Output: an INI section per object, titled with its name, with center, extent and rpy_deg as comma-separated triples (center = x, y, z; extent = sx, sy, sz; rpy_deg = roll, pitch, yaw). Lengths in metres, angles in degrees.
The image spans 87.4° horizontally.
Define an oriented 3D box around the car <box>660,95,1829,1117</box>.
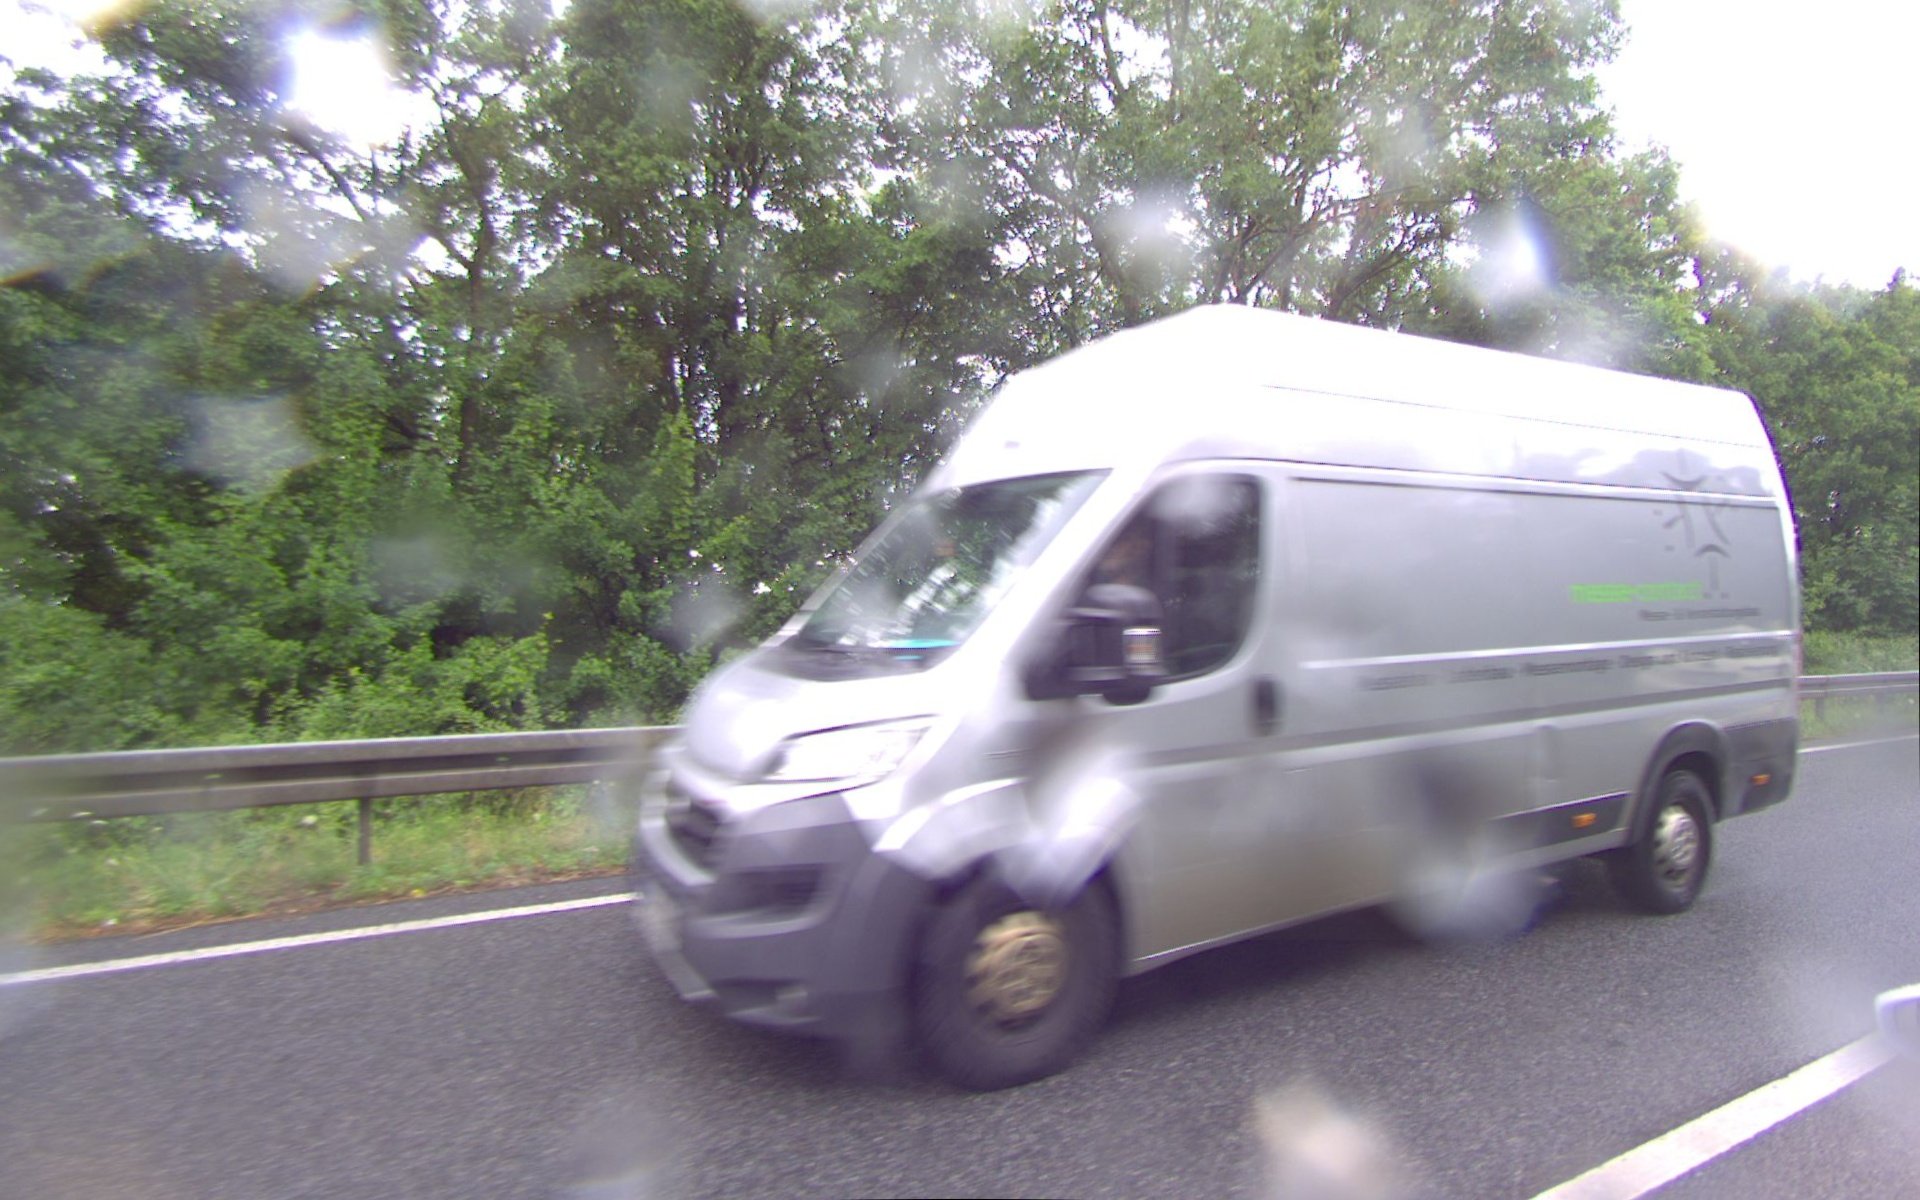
[car]
center = 1.835, 0.101, 5.101
extent = 6.099, 2.712, 2.038
rpy_deg = 2, -1, -30
